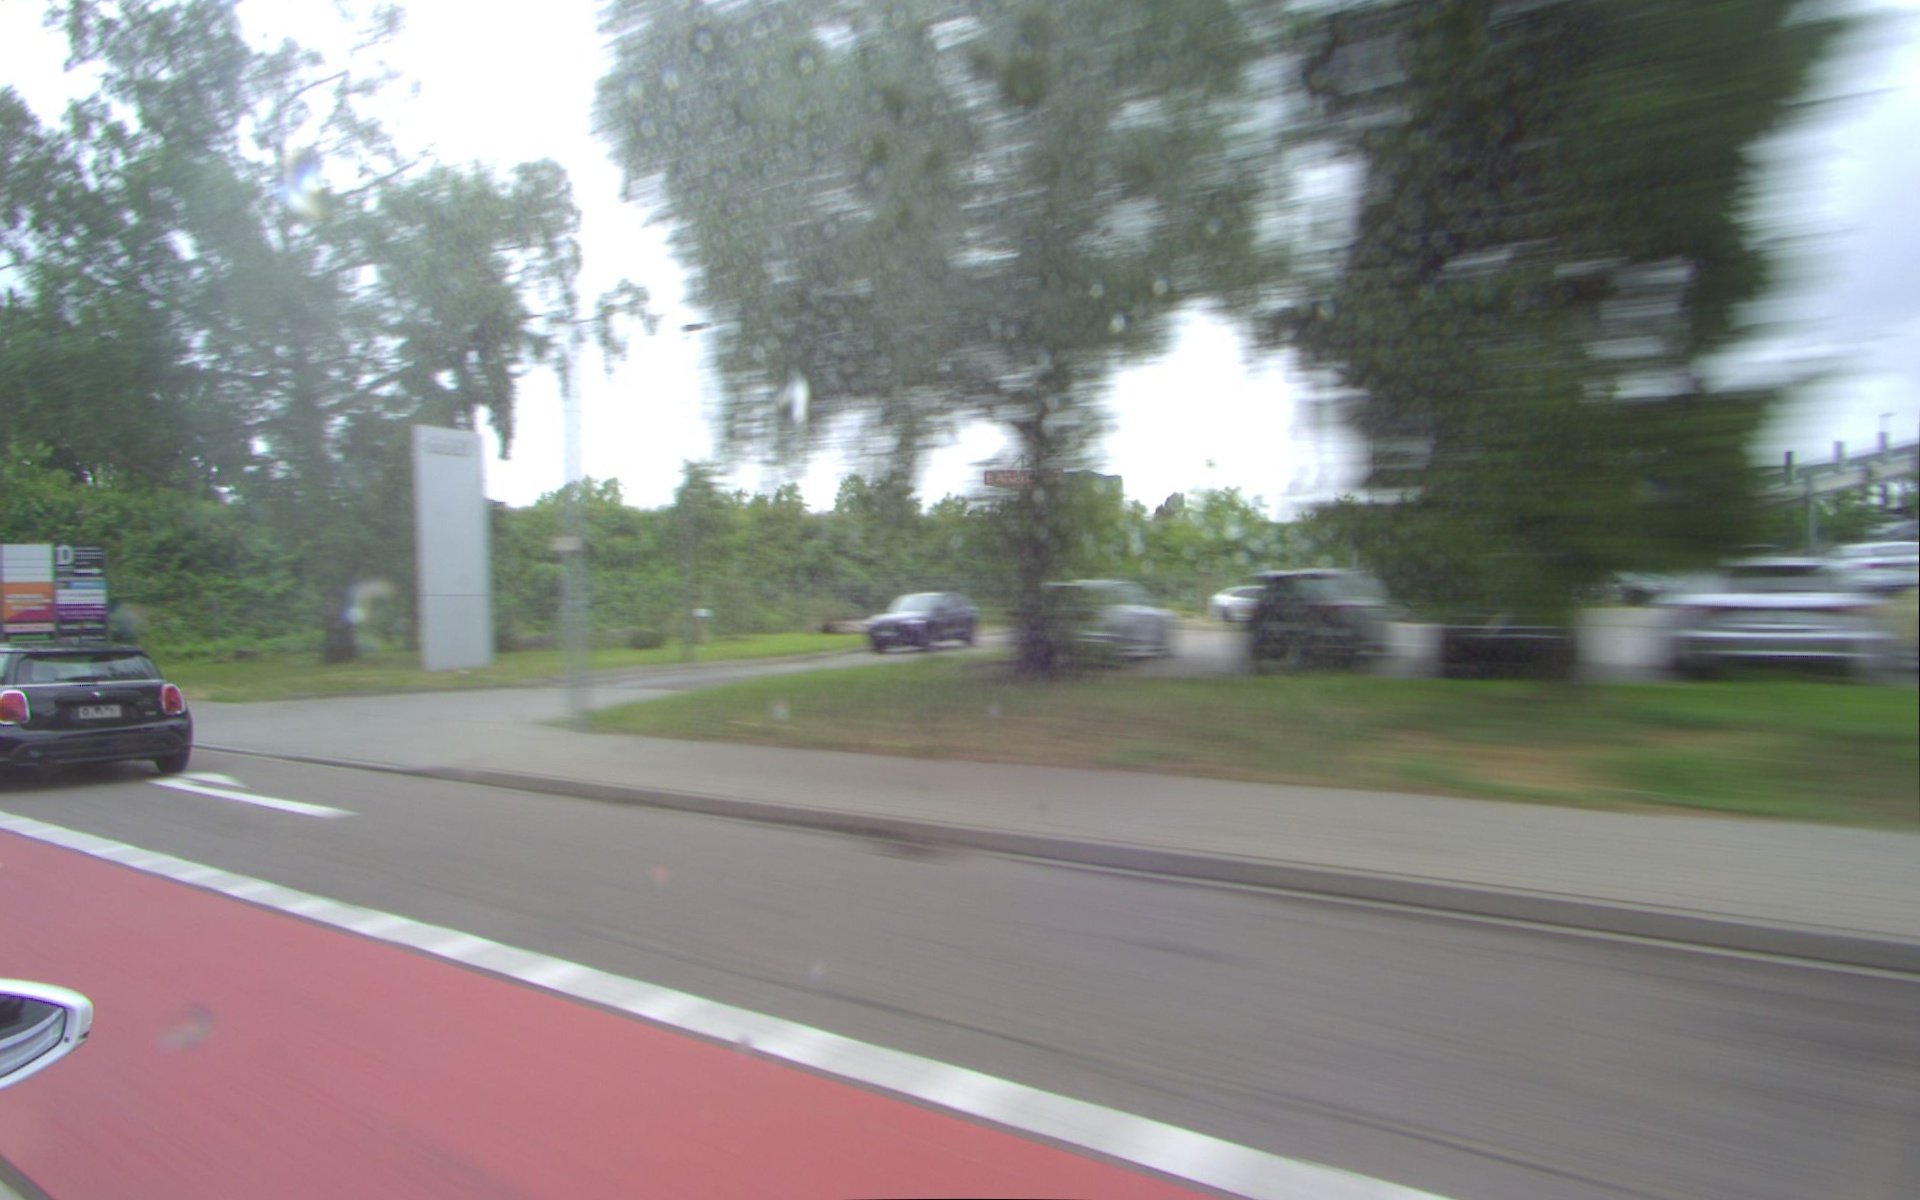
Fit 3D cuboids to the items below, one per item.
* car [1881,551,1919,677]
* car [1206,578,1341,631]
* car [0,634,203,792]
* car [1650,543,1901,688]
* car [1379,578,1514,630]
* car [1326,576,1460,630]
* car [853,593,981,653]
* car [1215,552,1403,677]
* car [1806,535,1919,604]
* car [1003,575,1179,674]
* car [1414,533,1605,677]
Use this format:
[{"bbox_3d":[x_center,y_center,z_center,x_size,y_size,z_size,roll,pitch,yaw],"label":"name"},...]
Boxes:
[{"bbox_3d":[11.468,0.147,10.713,1.786,1.396,3.987,-1,-3,34],"label":"car"},{"bbox_3d":[10.773,0.224,34.773,1.875,1.586,4.660,2,-3,-25],"label":"car"},{"bbox_3d":[-9.980,1.100,10.920,3.723,1.450,1.675,-1,-1,35],"label":"car"},{"bbox_3d":[9.470,0.269,11.992,1.876,1.400,4.290,-1,-3,33],"label":"car"},{"bbox_3d":[17.881,0.213,37.033,1.937,1.682,4.300,2,-3,-23],"label":"car"},{"bbox_3d":[15.452,0.161,35.980,1.937,1.711,4.300,2,-3,-23],"label":"car"},{"bbox_3d":[-1.180,0.643,29.778,1.938,1.610,4.295,-2,0,26],"label":"car"},{"bbox_3d":[5.461,0.308,15.310,1.940,1.621,4.294,-1,-3,30],"label":"car"},{"bbox_3d":[21.723,-0.658,23.738,1.805,1.306,4.294,-1,-3,30],"label":"car"},{"bbox_3d":[2.420,0.413,17.478,1.712,1.509,4.296,-1,-1,27],"label":"car"},{"bbox_3d":[7.557,0.175,13.557,1.942,1.621,4.290,-1,-3,33],"label":"car"}]
